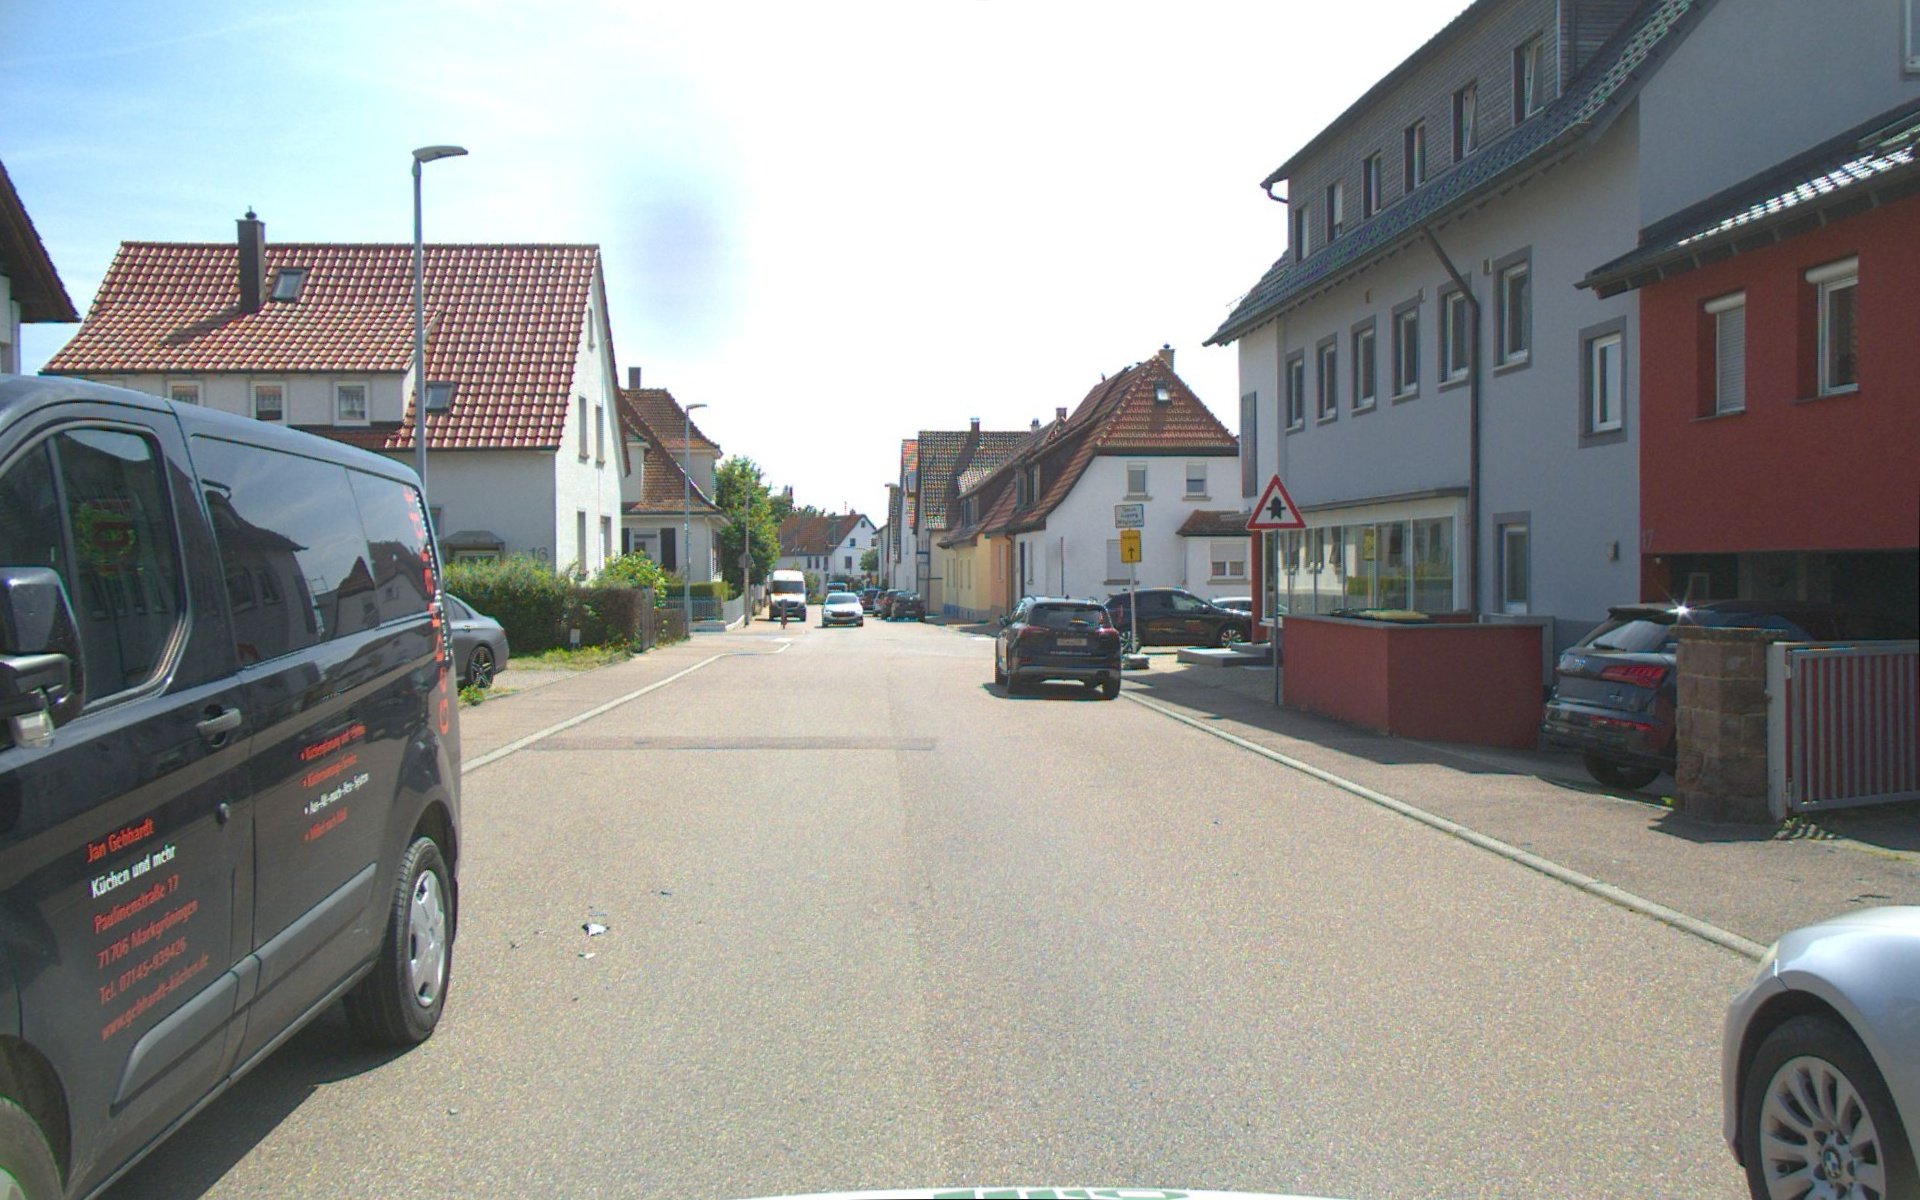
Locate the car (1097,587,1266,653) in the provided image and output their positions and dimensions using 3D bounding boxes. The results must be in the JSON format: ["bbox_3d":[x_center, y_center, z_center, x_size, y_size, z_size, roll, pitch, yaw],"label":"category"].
[{"bbox_3d":[5.728,0.502,43.108,4.204,1.682,1.848,0,0,2],"label":"car"}]

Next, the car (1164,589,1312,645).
[{"bbox_3d":[7.894,0.469,47.169,3.906,1.530,1.694,0,0,-1],"label":"car"}]

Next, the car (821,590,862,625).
[{"bbox_3d":[-5.193,0.295,72.029,1.719,1.463,4.583,0,0,-5],"label":"car"}]

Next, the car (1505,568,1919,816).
[{"bbox_3d":[7.084,0.800,13.875,4.284,1.697,1.875,6,0,-5],"label":"car"}]

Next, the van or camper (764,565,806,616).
[{"bbox_3d":[-9.385,-0.494,88.617,2.143,2.616,6.797,0,0,-7],"label":"van or camper"}]

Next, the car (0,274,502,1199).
[{"bbox_3d":[-2.579,0.472,3.907,1.929,1.986,4.693,-1,0,-4],"label":"car"}]

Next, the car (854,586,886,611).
[{"bbox_3d":[-6.359,-0.124,116.374,1.840,1.730,4.175,0,0,-8],"label":"car"}]

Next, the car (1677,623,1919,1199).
[{"bbox_3d":[2.833,0.818,2.117,1.716,1.445,4.418,2,0,-3],"label":"car"}]

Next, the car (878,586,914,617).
[{"bbox_3d":[-3.469,0.082,89.564,1.695,1.627,4.248,0,0,-6],"label":"car"}]

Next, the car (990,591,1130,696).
[{"bbox_3d":[1.539,0.648,26.985,1.727,1.553,4.402,0,0,-4],"label":"car"}]

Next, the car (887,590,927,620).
[{"bbox_3d":[-2.708,0.249,83.843,1.580,1.456,3.747,0,0,-8],"label":"car"}]

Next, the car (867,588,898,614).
[{"bbox_3d":[-4.756,0.052,101.419,1.642,1.586,3.034,0,0,-8],"label":"car"}]

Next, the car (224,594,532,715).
[{"bbox_3d":[-7.715,0.652,22.466,1.788,1.457,4.567,0,0,13],"label":"car"}]
